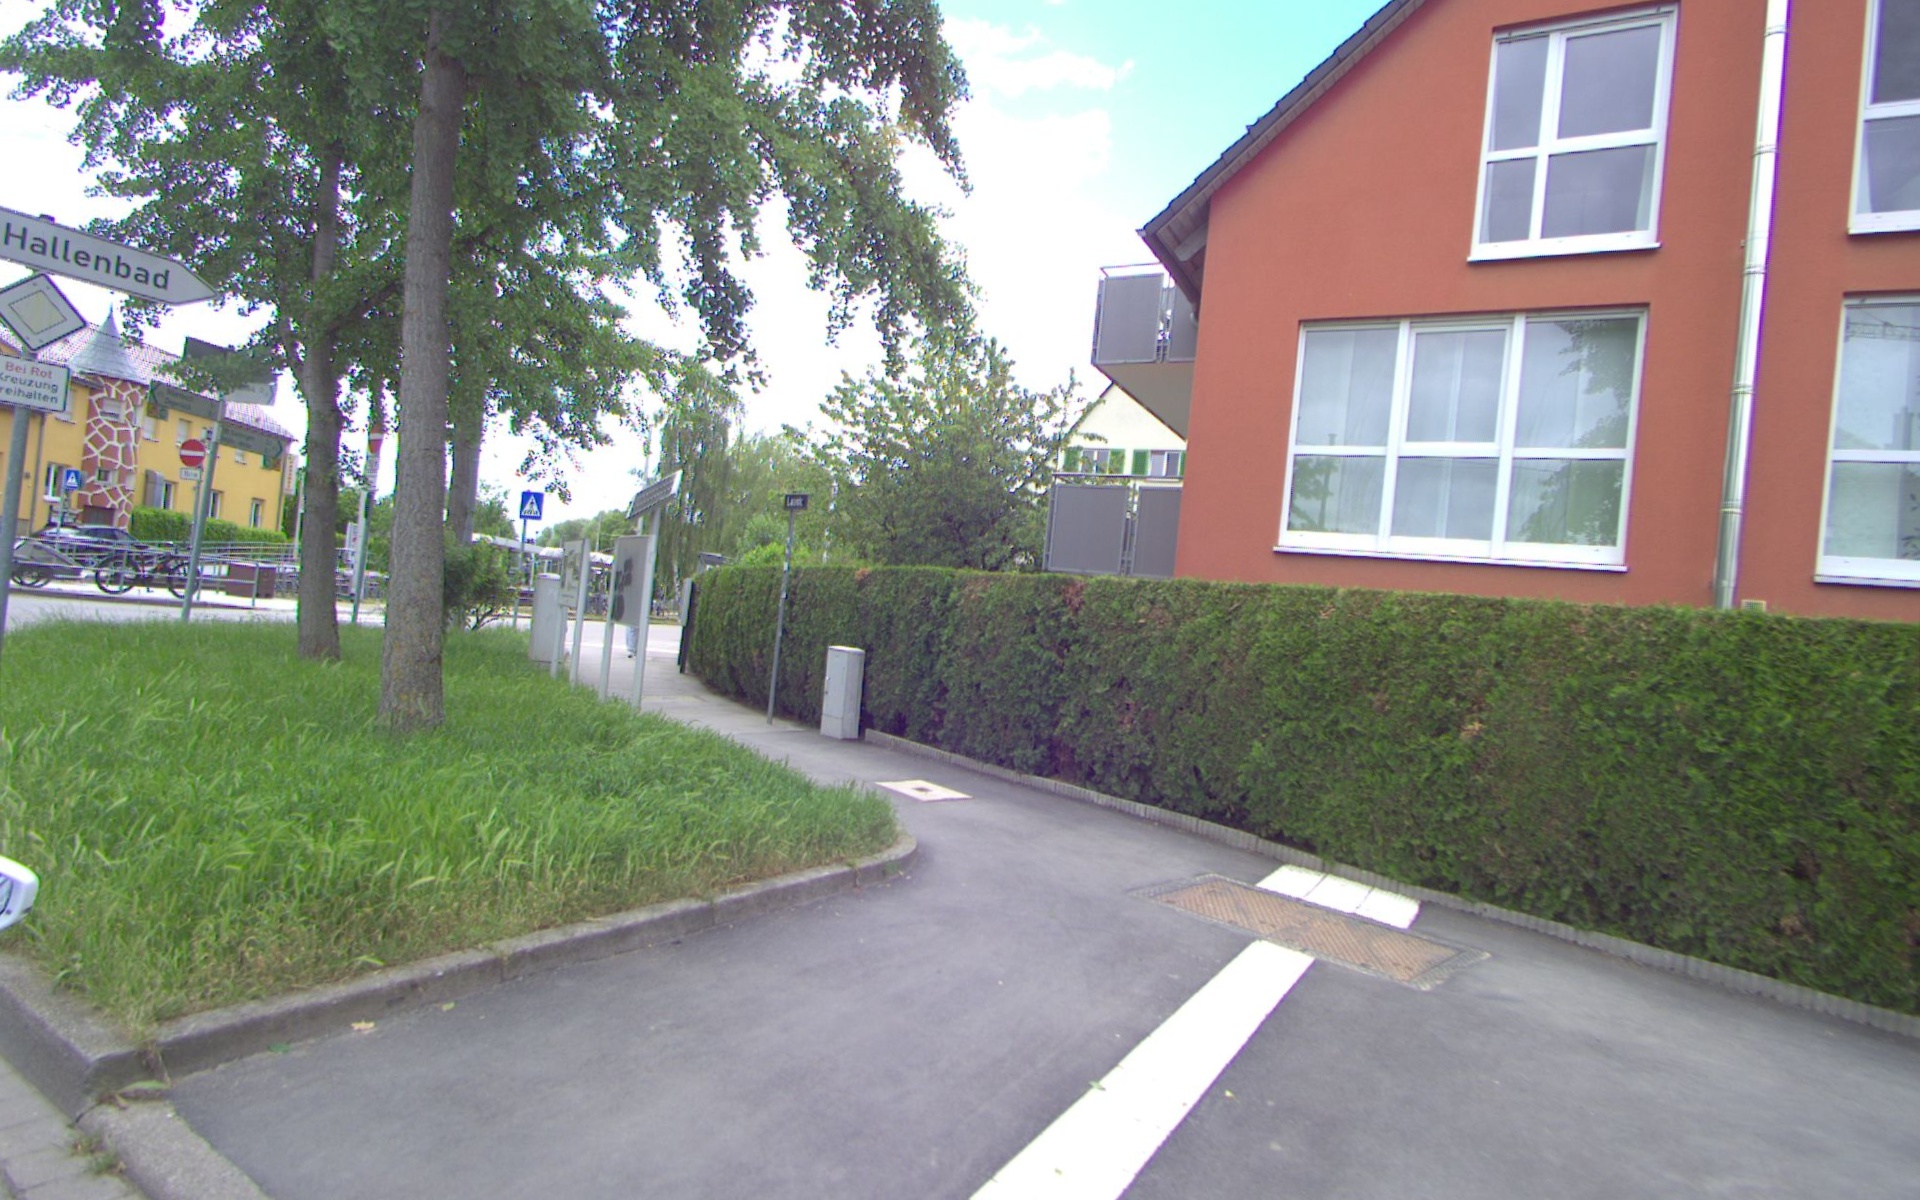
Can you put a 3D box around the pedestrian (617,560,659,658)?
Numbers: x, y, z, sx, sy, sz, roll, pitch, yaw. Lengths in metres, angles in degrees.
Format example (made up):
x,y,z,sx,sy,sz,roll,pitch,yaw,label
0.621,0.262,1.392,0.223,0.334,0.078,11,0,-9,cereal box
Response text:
x,y,z,sx,sy,sz,roll,pitch,yaw,label
-6.631,0.180,20.689,0.617,1.939,0.827,5,1,-22,pedestrian

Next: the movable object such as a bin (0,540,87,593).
x,y,z,sx,sy,sz,roll,pitch,yaw,label
-16.948,-0.609,18.549,0.569,0.834,1.094,6,-1,27,movable object such as a bin

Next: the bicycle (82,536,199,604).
x,y,z,sx,sy,sz,roll,pitch,yaw,label
-16.143,-0.567,19.866,0.458,1.169,1.692,6,-1,24,bicycle

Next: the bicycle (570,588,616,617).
x,y,z,sx,sy,sz,roll,pitch,yaw,label
-16.160,0.125,44.272,1.737,1.054,0.557,6,-1,2,bicycle

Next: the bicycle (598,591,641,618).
x,y,z,sx,sy,sz,roll,pitch,yaw,label
-16.081,0.213,47.468,1.737,1.054,0.557,6,-1,2,bicycle

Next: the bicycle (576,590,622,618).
x,y,z,sx,sy,sz,roll,pitch,yaw,label
-16.141,0.175,44.984,1.737,1.054,0.557,6,-1,2,bicycle

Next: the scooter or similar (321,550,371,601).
x,y,z,sx,sy,sz,roll,pitch,yaw,label
-17.540,-0.688,28.759,1.031,1.332,0.489,5,1,2,scooter or similar

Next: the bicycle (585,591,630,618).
x,y,z,sx,sy,sz,roll,pitch,yaw,label
-16.075,0.206,45.883,1.737,1.054,0.557,6,-1,2,bicycle

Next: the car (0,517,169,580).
x,y,z,sx,sy,sz,roll,pitch,yaw,label
-31.519,-1.788,36.299,2.319,1.582,4.376,7,-2,1,car

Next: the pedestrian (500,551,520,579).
x,y,z,sx,sy,sz,roll,pitch,yaw,label
-29.722,-2.286,66.471,0.873,1.691,0.909,6,-1,-8,pedestrian
